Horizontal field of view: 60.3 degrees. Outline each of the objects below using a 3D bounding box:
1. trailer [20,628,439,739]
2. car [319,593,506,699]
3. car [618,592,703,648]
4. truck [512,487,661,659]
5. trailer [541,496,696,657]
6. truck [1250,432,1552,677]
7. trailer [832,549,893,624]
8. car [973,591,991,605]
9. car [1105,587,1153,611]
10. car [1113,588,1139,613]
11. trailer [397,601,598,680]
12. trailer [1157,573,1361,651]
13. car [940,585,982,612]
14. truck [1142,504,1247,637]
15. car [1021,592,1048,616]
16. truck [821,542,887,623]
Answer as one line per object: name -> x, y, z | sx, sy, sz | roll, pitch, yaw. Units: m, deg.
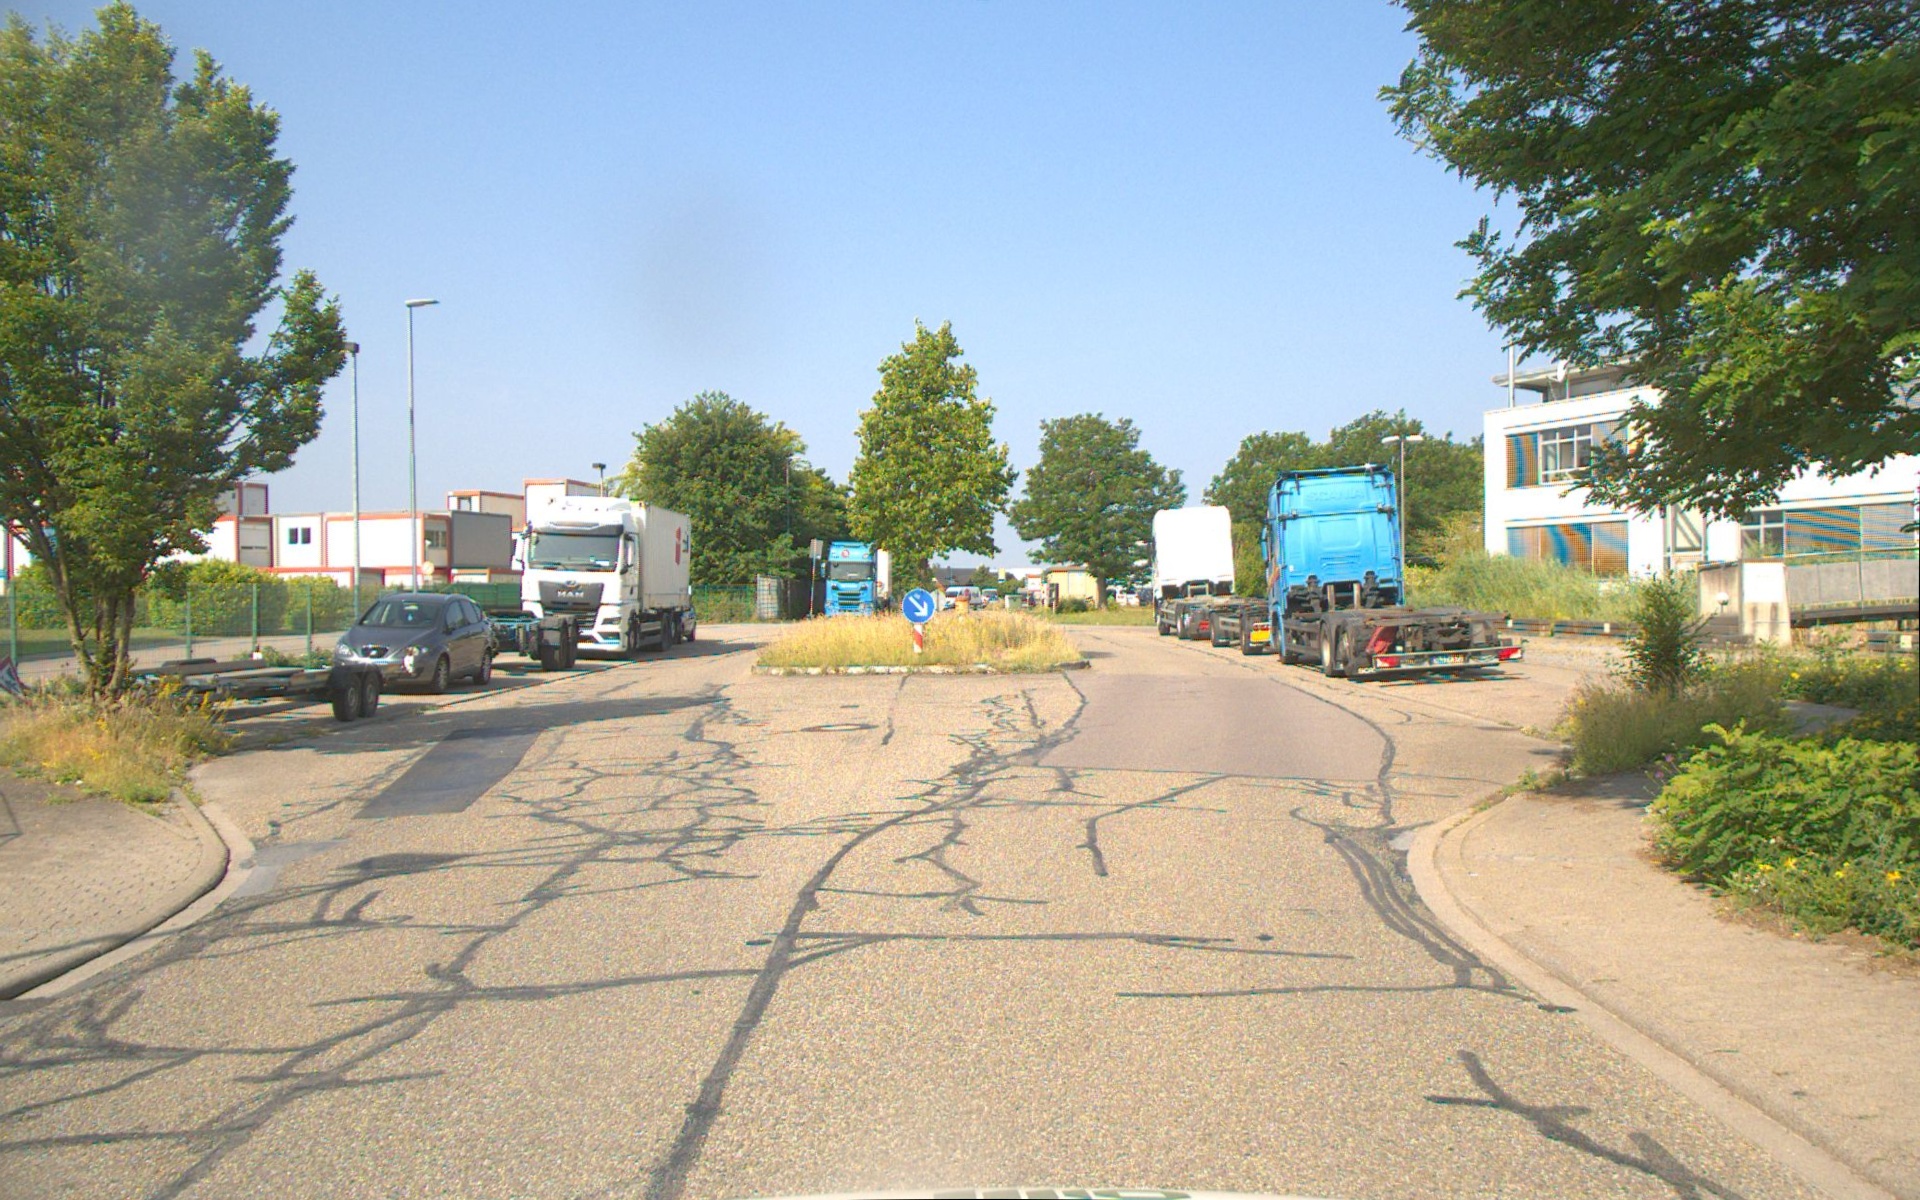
trailer -> -8.976, 0.963, 21.299 | 2.495, 0.941, 6.708 | 3, 0, -1
car -> -9.139, 0.710, 27.965 | 1.661, 1.588, 4.336 | 2, 0, 0
car -> -9.380, 0.584, 52.138 | 1.953, 1.669, 4.586 | 1, 0, -2
truck -> -9.131, -0.597, 40.839 | 2.653, 3.991, 4.296 | 1, -1, -1
trailer -> -9.174, -0.527, 45.273 | 2.644, 3.991, 7.573 | 1, -1, -1
truck -> 7.698, -0.643, 30.555 | 2.829, 3.596, 9.755 | -4, -1, 1
trailer -> -5.431, -0.643, 94.046 | 2.773, 3.910, 12.034 | 1, -1, 0
car -> 3.020, -0.267, 226.698 | 1.738, 1.847, 3.991 | 1, -1, -10
car -> 10.234, -0.055, 100.353 | 1.641, 1.353, 3.647 | 1, -1, -16
car -> 11.774, 0.063, 117.389 | 1.681, 1.646, 4.001 | 1, -1, 3
trailer -> -9.412, 0.772, 34.195 | 2.626, 1.479, 5.078 | 0, 0, 1
trailer -> 7.710, 0.268, 45.441 | 2.690, 1.601, 16.171 | -3, 0, 0
car -> 0.134, -0.167, 181.904 | 1.957, 2.782, 5.775 | 0, -1, 31
truck -> 7.664, -0.937, 54.506 | 2.690, 4.051, 4.000 | -3, 0, 0
car -> 5.654, 0.310, 125.993 | 1.755, 1.780, 3.999 | 1, -1, -1
truck -> -5.382, -0.787, 85.426 | 2.767, 3.893, 9.671 | 1, -1, 0
